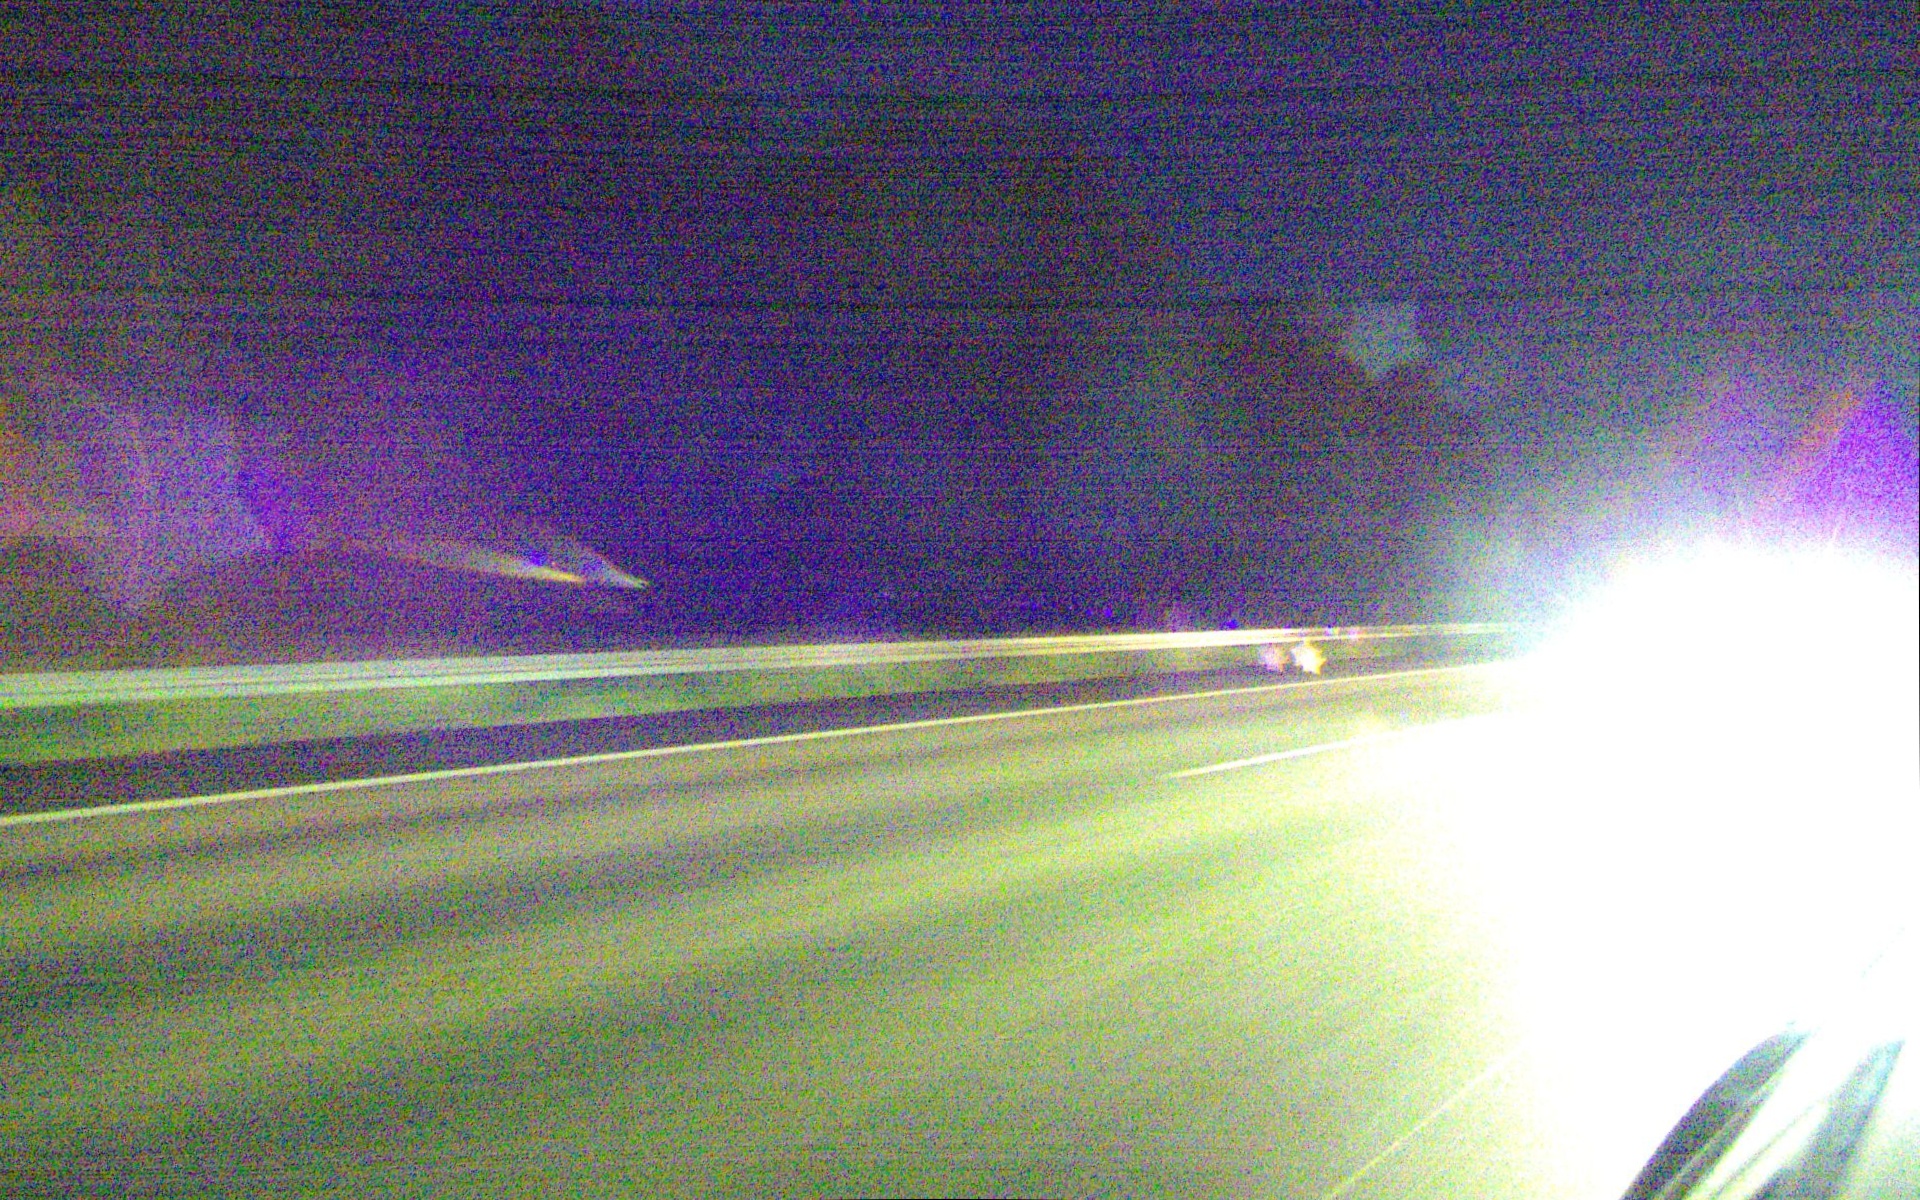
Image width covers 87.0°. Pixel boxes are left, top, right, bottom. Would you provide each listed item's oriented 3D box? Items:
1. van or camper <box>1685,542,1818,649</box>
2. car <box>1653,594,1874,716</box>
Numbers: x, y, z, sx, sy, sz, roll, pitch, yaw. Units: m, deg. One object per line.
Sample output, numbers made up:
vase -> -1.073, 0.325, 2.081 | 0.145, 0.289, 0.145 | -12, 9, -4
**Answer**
van or camper -> 23.236, -0.126, 29.578 | 6.692, 2.806, 2.208 | 0, 0, -45
car -> 11.148, 0.652, 13.939 | 4.152, 1.431, 1.689 | 0, 0, -41
